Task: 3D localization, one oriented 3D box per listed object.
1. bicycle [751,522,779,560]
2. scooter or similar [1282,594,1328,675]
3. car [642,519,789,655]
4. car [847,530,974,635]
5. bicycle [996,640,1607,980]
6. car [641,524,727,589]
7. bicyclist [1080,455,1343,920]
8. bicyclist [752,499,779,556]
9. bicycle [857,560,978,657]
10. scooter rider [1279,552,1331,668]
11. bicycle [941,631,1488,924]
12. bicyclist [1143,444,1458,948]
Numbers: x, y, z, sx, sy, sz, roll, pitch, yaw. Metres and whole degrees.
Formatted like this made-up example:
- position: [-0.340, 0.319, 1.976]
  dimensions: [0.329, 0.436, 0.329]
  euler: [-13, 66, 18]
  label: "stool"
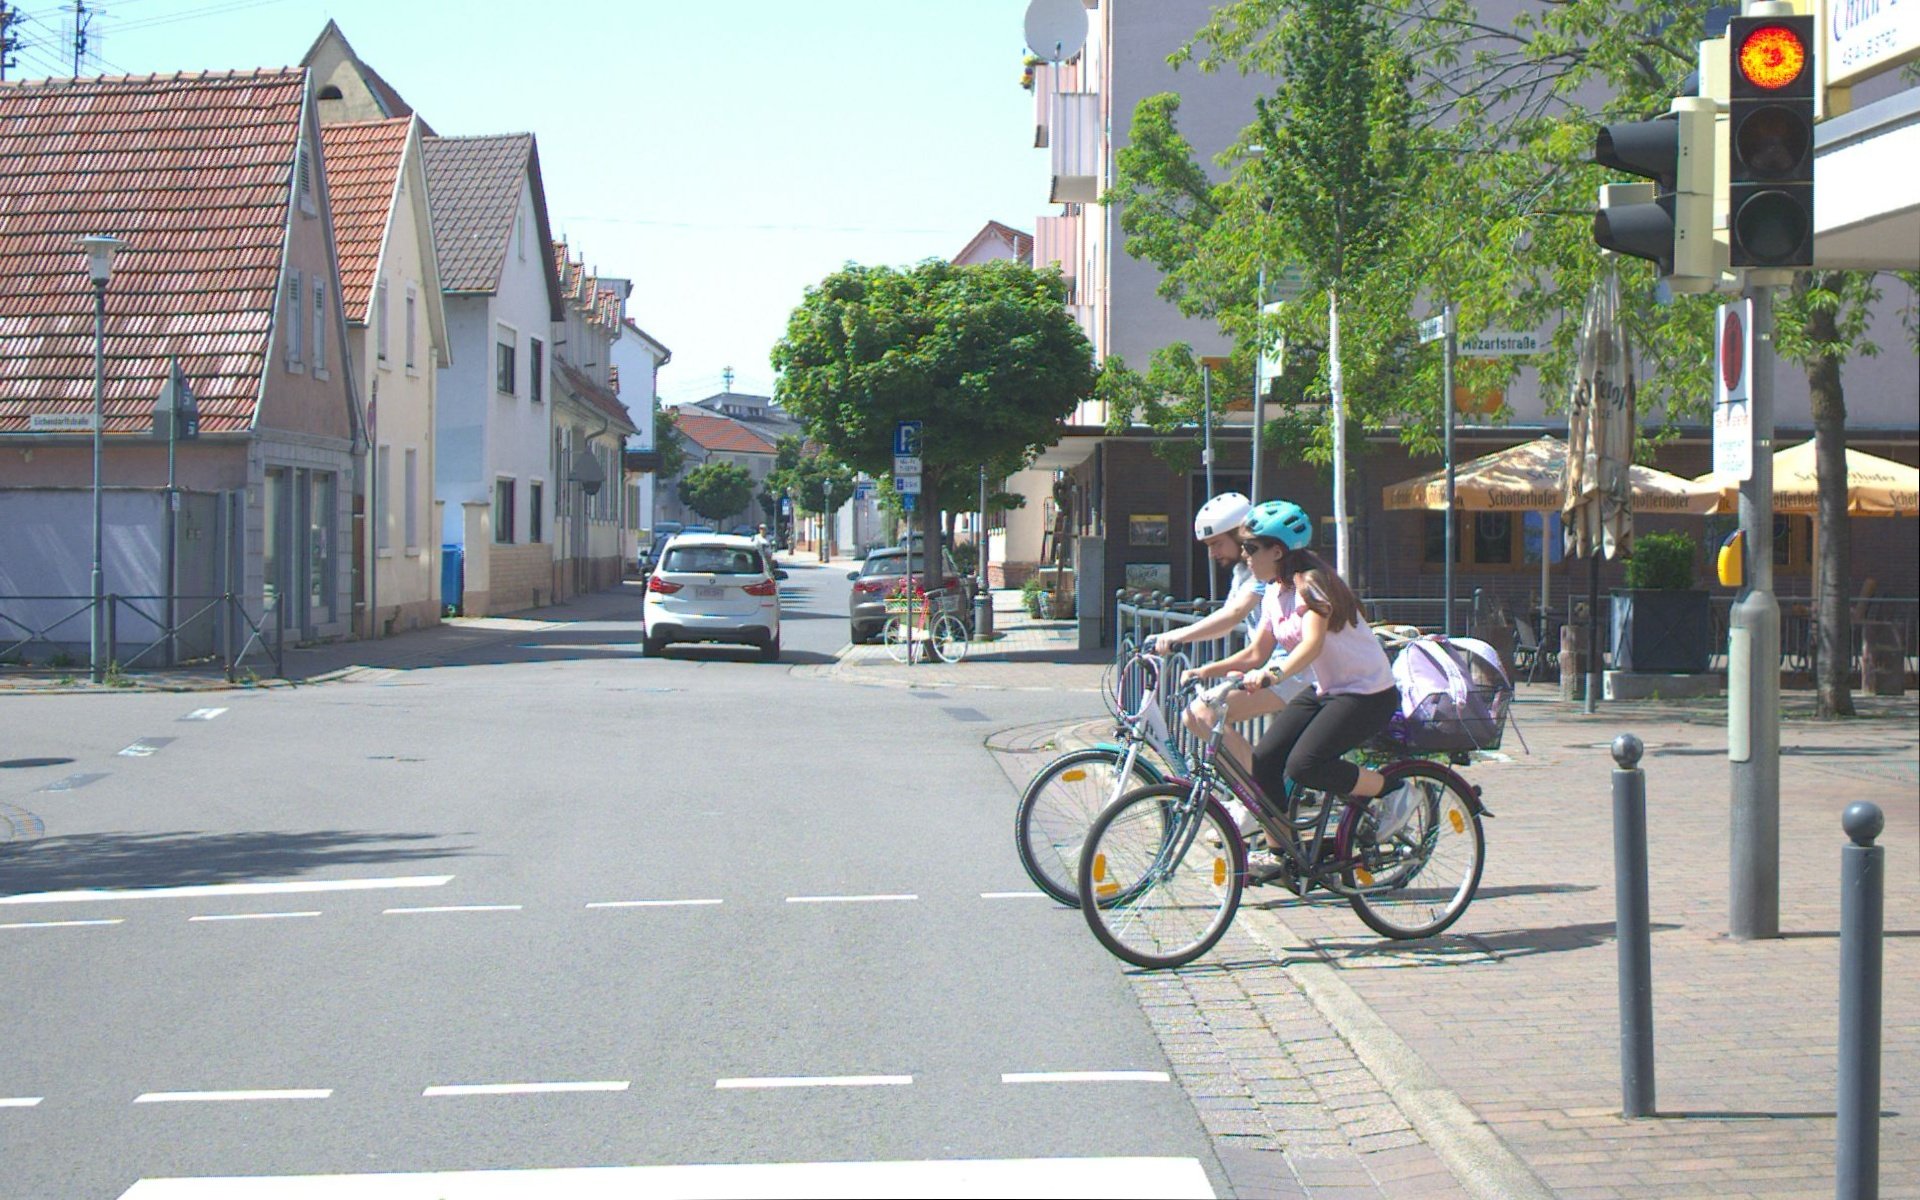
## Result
- position: [-5.116, -1.549, 90.339]
  dimensions: [0.664, 1.003, 1.897]
  euler: [0, 1, -1]
  label: "bicycle"
- position: [3.846, 0.378, 38.285]
  dimensions: [0.379, 0.870, 0.890]
  euler: [0, 1, 14]
  label: "scooter or similar"
- position: [-3.304, -0.209, 45.944]
  dimensions: [1.833, 1.646, 4.001]
  euler: [2, 2, -5]
  label: "car"
- position: [-0.713, -0.300, 52.160]
  dimensions: [1.805, 1.496, 4.000]
  euler: [0, 2, 1]
  label: "car"
- position: [1.133, 0.660, 11.347]
  dimensions: [1.889, 0.954, 0.676]
  euler: [-2, 2, -23]
  label: "bicycle"
- position: [-6.647, -1.060, 83.025]
  dimensions: [1.714, 1.512, 3.786]
  euler: [0, 1, 1]
  label: "car"
- position: [0.928, 0.306, 12.793]
  dimensions: [0.759, 1.658, 0.671]
  euler: [-2, 1, -14]
  label: "bicyclist"
- position: [-5.106, -1.897, 90.258]
  dimensions: [0.673, 1.477, 0.770]
  euler: [0, 1, -1]
  label: "bicyclist"
- position: [-0.543, 0.098, 43.448]
  dimensions: [0.525, 1.189, 1.674]
  euler: [-1, 1, -44]
  label: "bicycle"
- position: [3.844, 0.106, 38.275]
  dimensions: [0.516, 1.281, 0.418]
  euler: [1, 1, 14]
  label: "scooter rider"
- position: [0.941, 0.639, 12.801]
  dimensions: [1.889, 0.954, 0.676]
  euler: [-2, 1, -14]
  label: "bicycle"
- position: [1.116, 0.293, 11.333]
  dimensions: [0.759, 1.576, 0.671]
  euler: [-3, 2, -23]
  label: "bicyclist"
